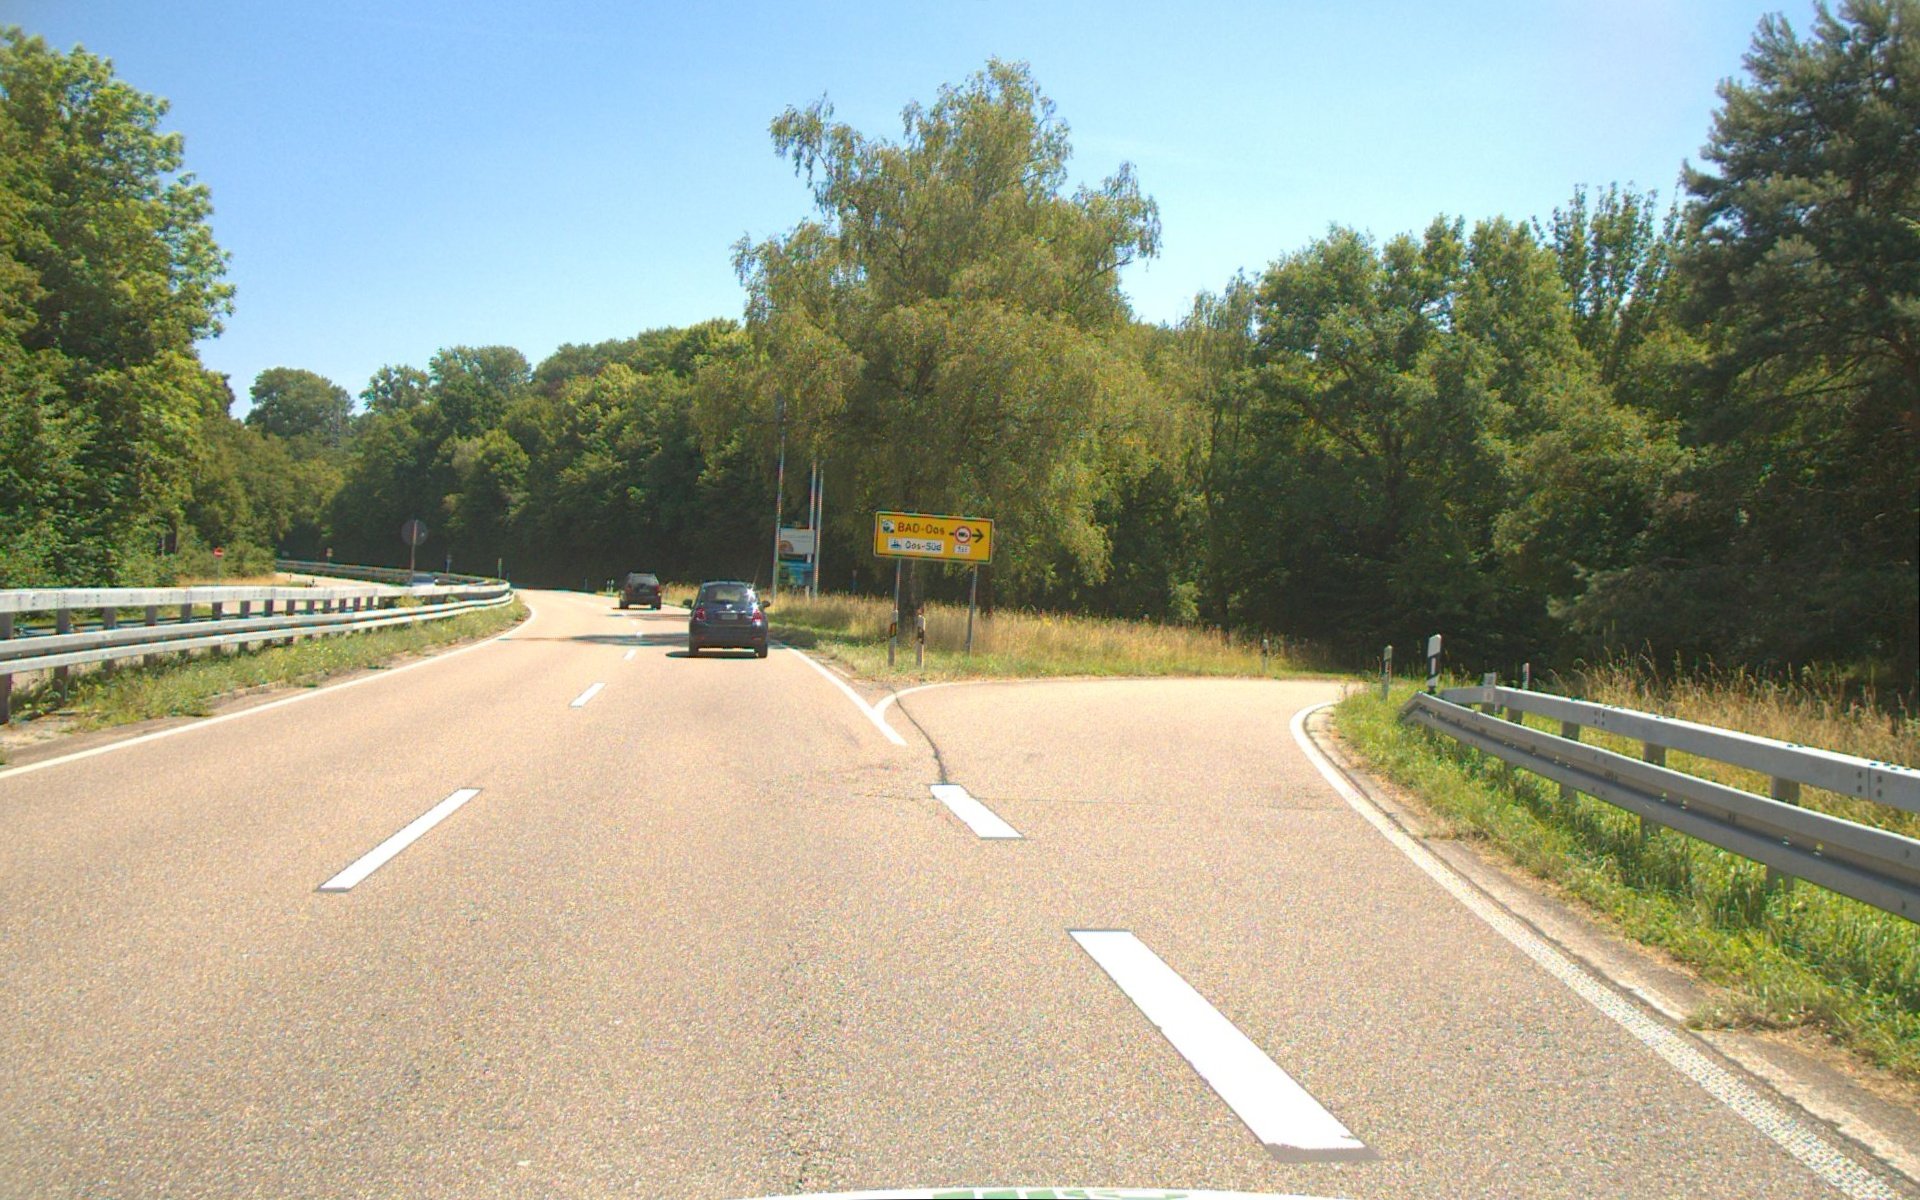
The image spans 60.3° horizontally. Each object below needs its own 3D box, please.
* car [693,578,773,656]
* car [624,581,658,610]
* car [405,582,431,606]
[{"bbox_3d":[-4.670,0.328,34.332,1.484,1.527,3.586,1,0,-5],"label":"car"},{"bbox_3d":[-15.347,-0.238,79.461,1.498,1.336,3.404,1,0,-12],"label":"car"},{"bbox_3d":[-33.006,-0.393,100.671,1.419,1.405,3.827,1,1,-19],"label":"car"}]
